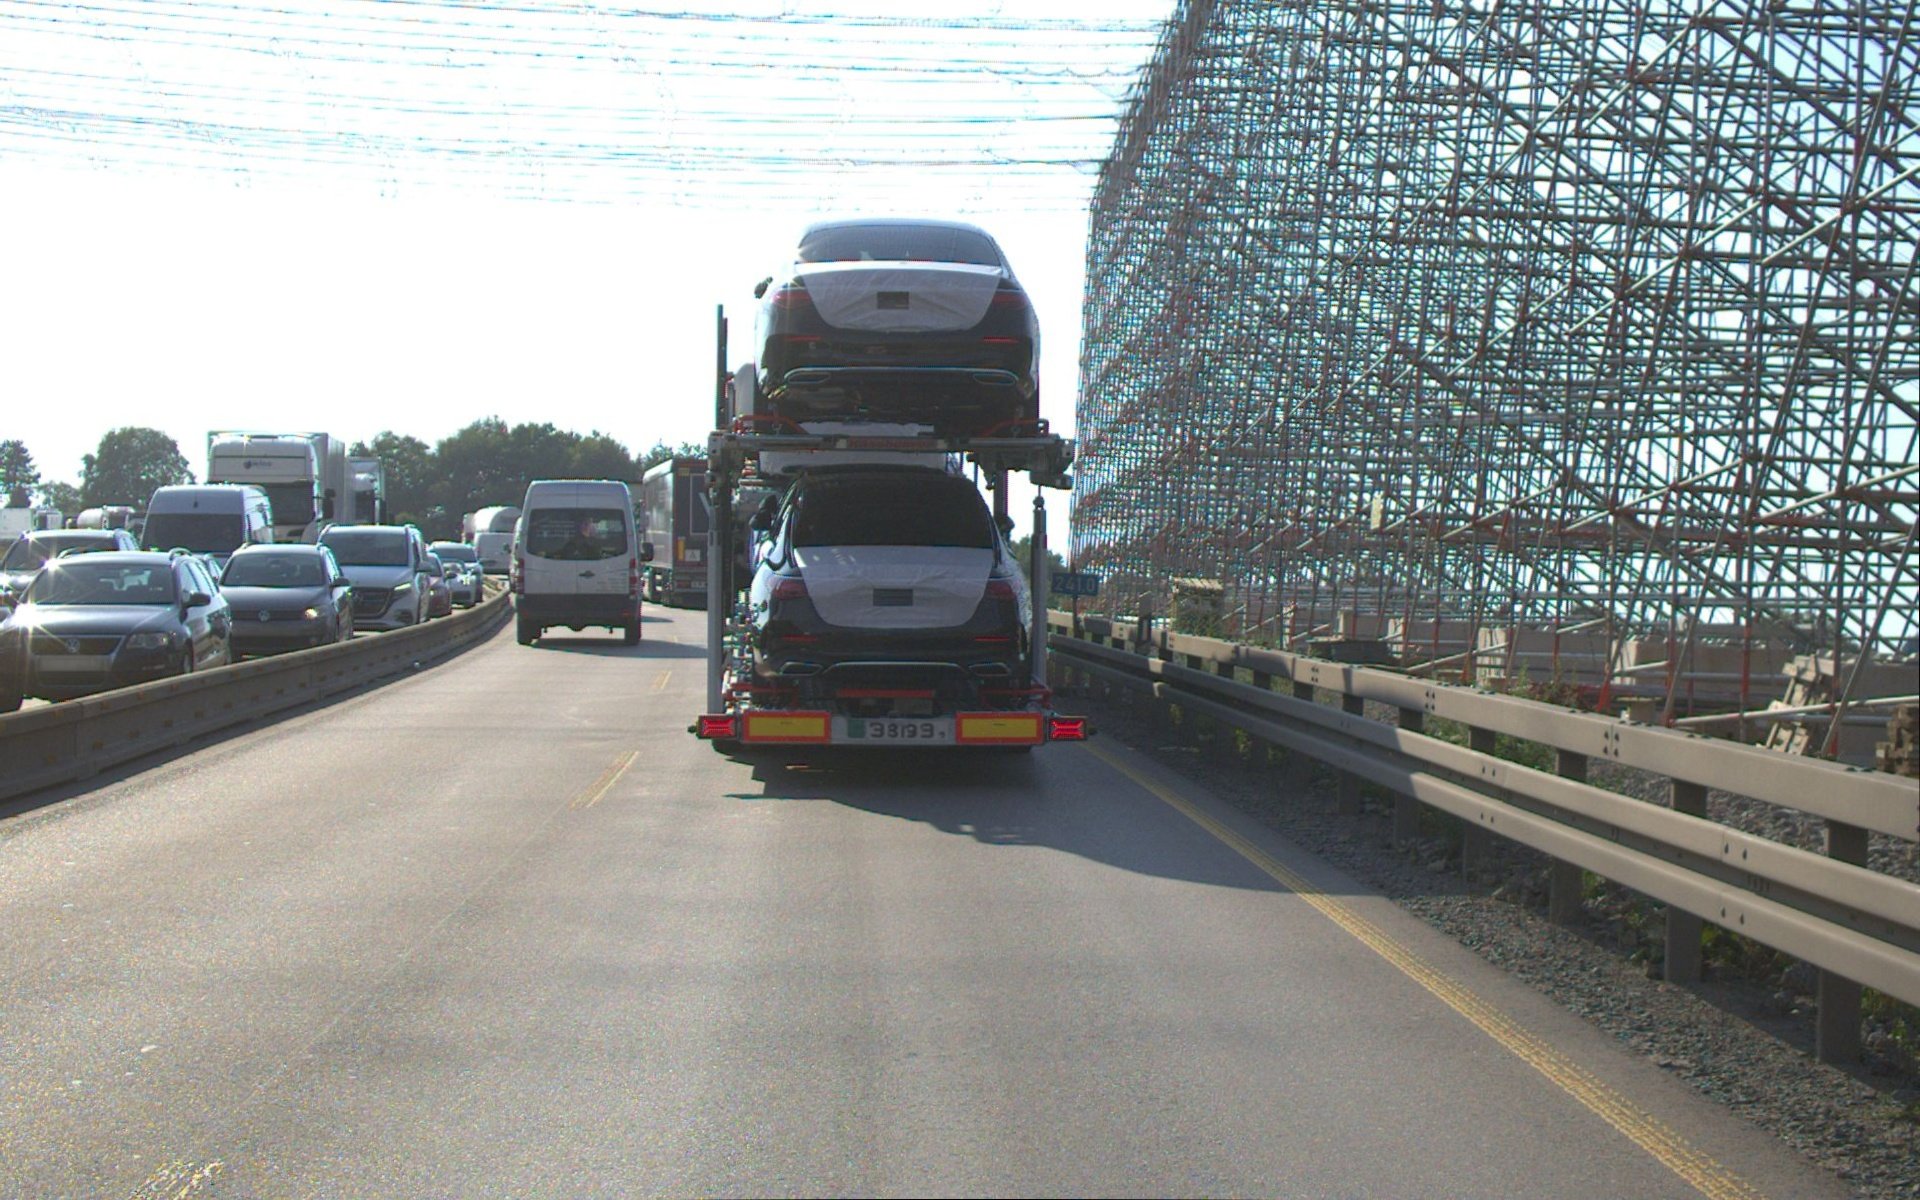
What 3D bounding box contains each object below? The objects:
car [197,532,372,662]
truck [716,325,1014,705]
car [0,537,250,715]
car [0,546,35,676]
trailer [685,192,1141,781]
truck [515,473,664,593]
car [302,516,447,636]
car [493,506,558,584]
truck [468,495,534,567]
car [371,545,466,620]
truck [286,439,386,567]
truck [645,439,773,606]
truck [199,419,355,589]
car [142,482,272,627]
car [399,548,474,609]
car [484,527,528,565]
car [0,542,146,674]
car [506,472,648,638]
[{"bbox_3d":[-9.020,-0.072,46.165,1.695,1.623,4.001,1,1,-2],"label":"car"},{"bbox_3d":[-1.123,-0.846,37.125,2.881,3.690,7.326,0,0,-3],"label":"truck"},{"bbox_3d":[-7.970,0.197,32.823,1.741,1.537,4.406,1,1,-4],"label":"car"},{"bbox_3d":[-11.433,0.112,37.683,1.665,1.436,3.852,1,1,-3],"label":"car"},{"bbox_3d":[-0.690,-0.760,29.216,2.868,3.712,14.949,0,0,-3],"label":"trailer"},{"bbox_3d":[-14.277,-2.464,131.154,3.686,4.206,13.672,-3,1,-14],"label":"truck"},{"bbox_3d":[-9.698,-0.415,57.215,1.836,1.887,4.001,1,1,-2],"label":"car"},{"bbox_3d":[-14.865,-1.893,117.432,1.993,2.570,4.001,1,1,-9],"label":"car"},{"bbox_3d":[-24.663,-3.696,184.540,2.615,3.711,9.662,1,1,-12],"label":"truck"},{"bbox_3d":[-11.124,-0.380,70.485,1.836,1.448,4.001,1,1,-10],"label":"car"},{"bbox_3d":[-18.266,-2.803,101.130,2.594,3.462,12.395,1,1,-9],"label":"truck"},{"bbox_3d":[-7.179,-2.156,96.815,2.731,4.370,11.524,1,1,-8],"label":"truck"},{"bbox_3d":[-15.278,-2.095,77.598,2.594,3.462,12.395,1,1,-8],"label":"truck"},{"bbox_3d":[-13.839,-0.846,63.351,1.993,2.532,4.001,1,1,-8],"label":"car"},{"bbox_3d":[-13.421,-0.564,88.039,1.701,1.448,4.001,1,1,-11],"label":"car"},{"bbox_3d":[-19.694,-2.321,149.166,1.710,1.612,3.504,0,0,-5],"label":"car"},{"bbox_3d":[-12.291,0.070,46.679,1.679,1.678,4.001,1,1,-3],"label":"car"},{"bbox_3d":[-6.298,-0.704,56.226,1.956,2.612,4.001,0,0,-11],"label":"car"}]
